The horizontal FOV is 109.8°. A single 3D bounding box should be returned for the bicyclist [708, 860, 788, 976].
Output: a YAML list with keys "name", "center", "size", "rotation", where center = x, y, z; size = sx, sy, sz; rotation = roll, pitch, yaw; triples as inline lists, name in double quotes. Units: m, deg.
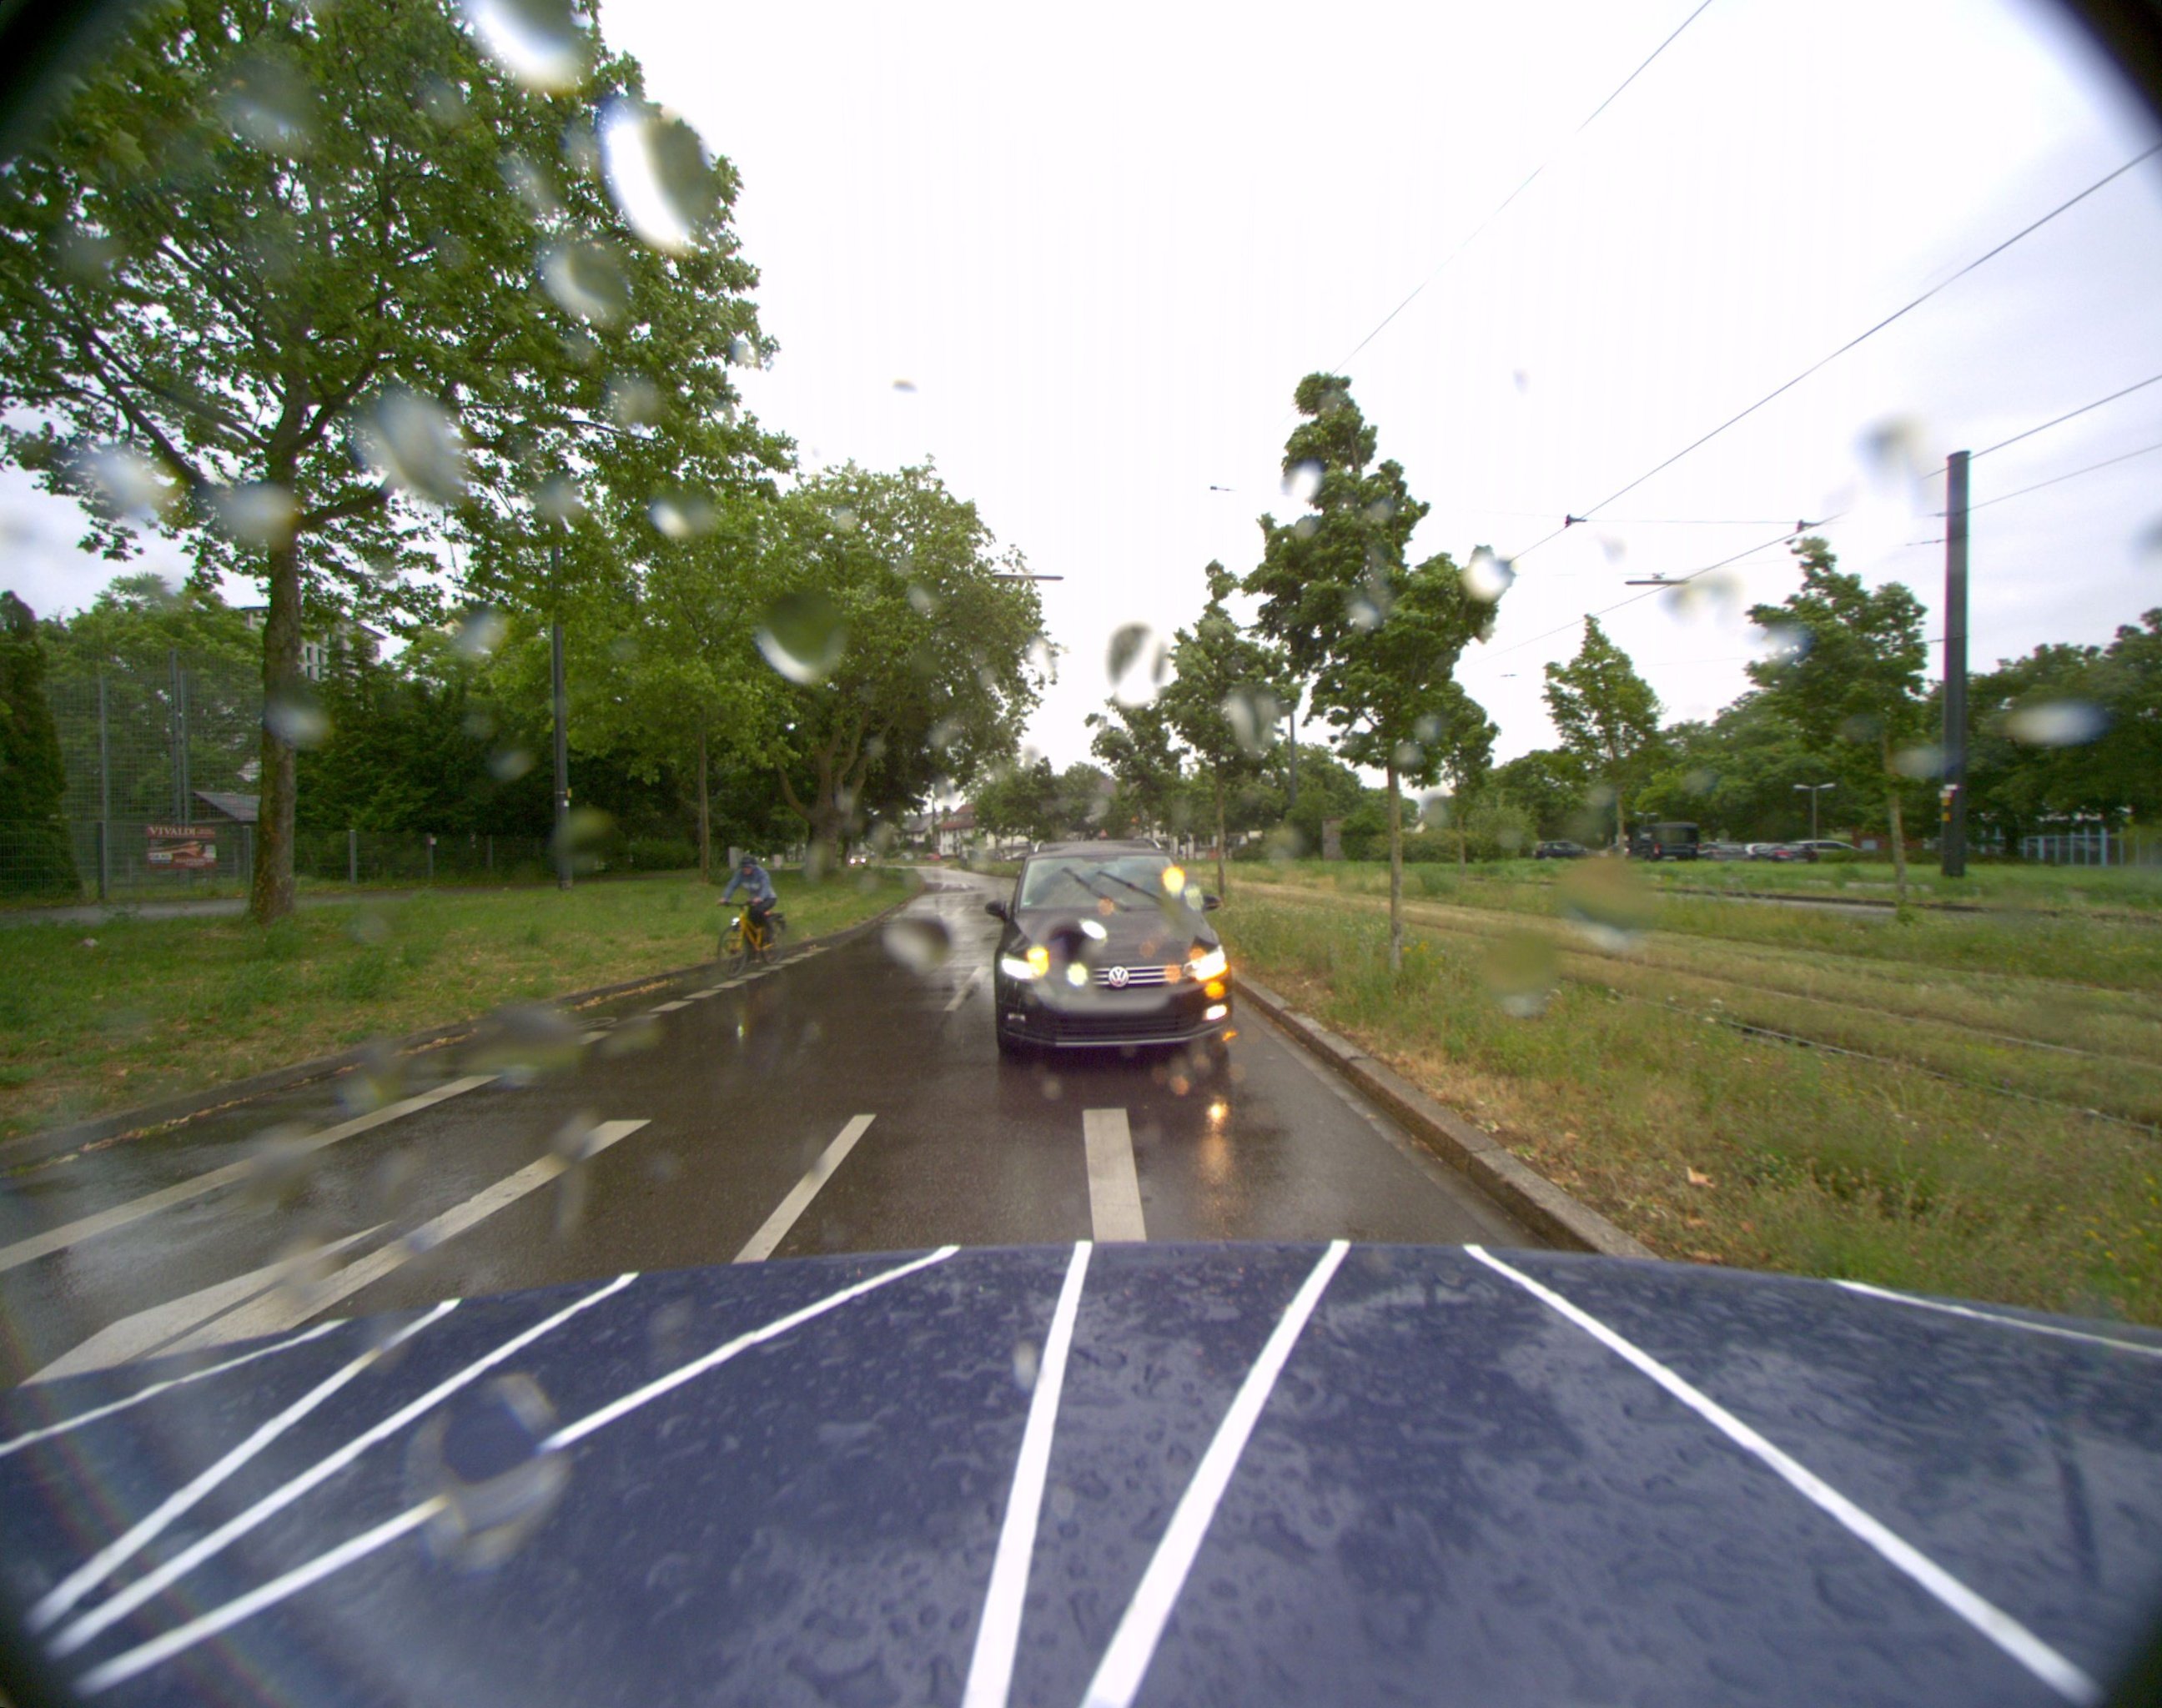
- name: "bicyclist"
  center: [-4.610, 0.860, 10.573]
  size: [0.692, 1.497, 0.844]
  rotation: [-2, 2, -2]

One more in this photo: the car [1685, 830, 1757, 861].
- name: "car"
  center: [34.643, -0.510, 41.275]
  size: [1.752, 1.522, 4.856]
  rotation: [-2, 1, 24]

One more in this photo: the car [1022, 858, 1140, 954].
- name: "car"
  center: [-0.059, 0.818, 13.842]
  size: [1.788, 1.355, 3.996]
  rotation: [-2, 1, -2]

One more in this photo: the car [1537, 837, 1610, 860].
- name: "car"
  center: [34.781, -0.390, 53.804]
  size: [4.172, 1.474, 1.786]
  rotation: [-2, 1, 27]

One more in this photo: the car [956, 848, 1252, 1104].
- name: "car"
  center: [0.176, 0.780, 7.215]
  size: [1.866, 1.592, 4.524]
  rotation: [-2, 1, 1]

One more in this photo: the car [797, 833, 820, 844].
- name: "car"
  center: [-51.588, -2.964, 143.819]
  size: [4.004, 1.816, 1.996]
  rotation: [-3, 1, -24]

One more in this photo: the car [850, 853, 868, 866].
- name: "car"
  center: [-30.787, 0.736, 105.447]
  size: [1.875, 1.608, 3.802]
  rotation: [-3, 1, -23]

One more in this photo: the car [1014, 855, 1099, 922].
- name: "car"
  center: [-0.719, 0.782, 19.043]
  size: [1.789, 1.396, 3.791]
  rotation: [-2, 1, -6]

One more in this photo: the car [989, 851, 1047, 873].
- name: "car"
  center: [-4.643, 0.565, 55.532]
  size: [4.046, 1.412, 1.674]
  rotation: [-2, 1, -10]

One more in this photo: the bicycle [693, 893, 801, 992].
- name: "bicycle"
  center: [-4.604, 1.172, 10.636]
  size: [0.692, 1.110, 1.884]
  rotation: [-2, 1, -2]

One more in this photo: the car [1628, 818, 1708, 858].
- name: "car"
  center: [32.003, -0.880, 41.592]
  size: [2.307, 2.002, 5.125]
  rotation: [-2, 1, 24]

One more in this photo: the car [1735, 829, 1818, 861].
- name: "car"
  center: [36.573, -0.516, 40.117]
  size: [2.057, 1.564, 5.024]
  rotation: [-2, 1, 29]
